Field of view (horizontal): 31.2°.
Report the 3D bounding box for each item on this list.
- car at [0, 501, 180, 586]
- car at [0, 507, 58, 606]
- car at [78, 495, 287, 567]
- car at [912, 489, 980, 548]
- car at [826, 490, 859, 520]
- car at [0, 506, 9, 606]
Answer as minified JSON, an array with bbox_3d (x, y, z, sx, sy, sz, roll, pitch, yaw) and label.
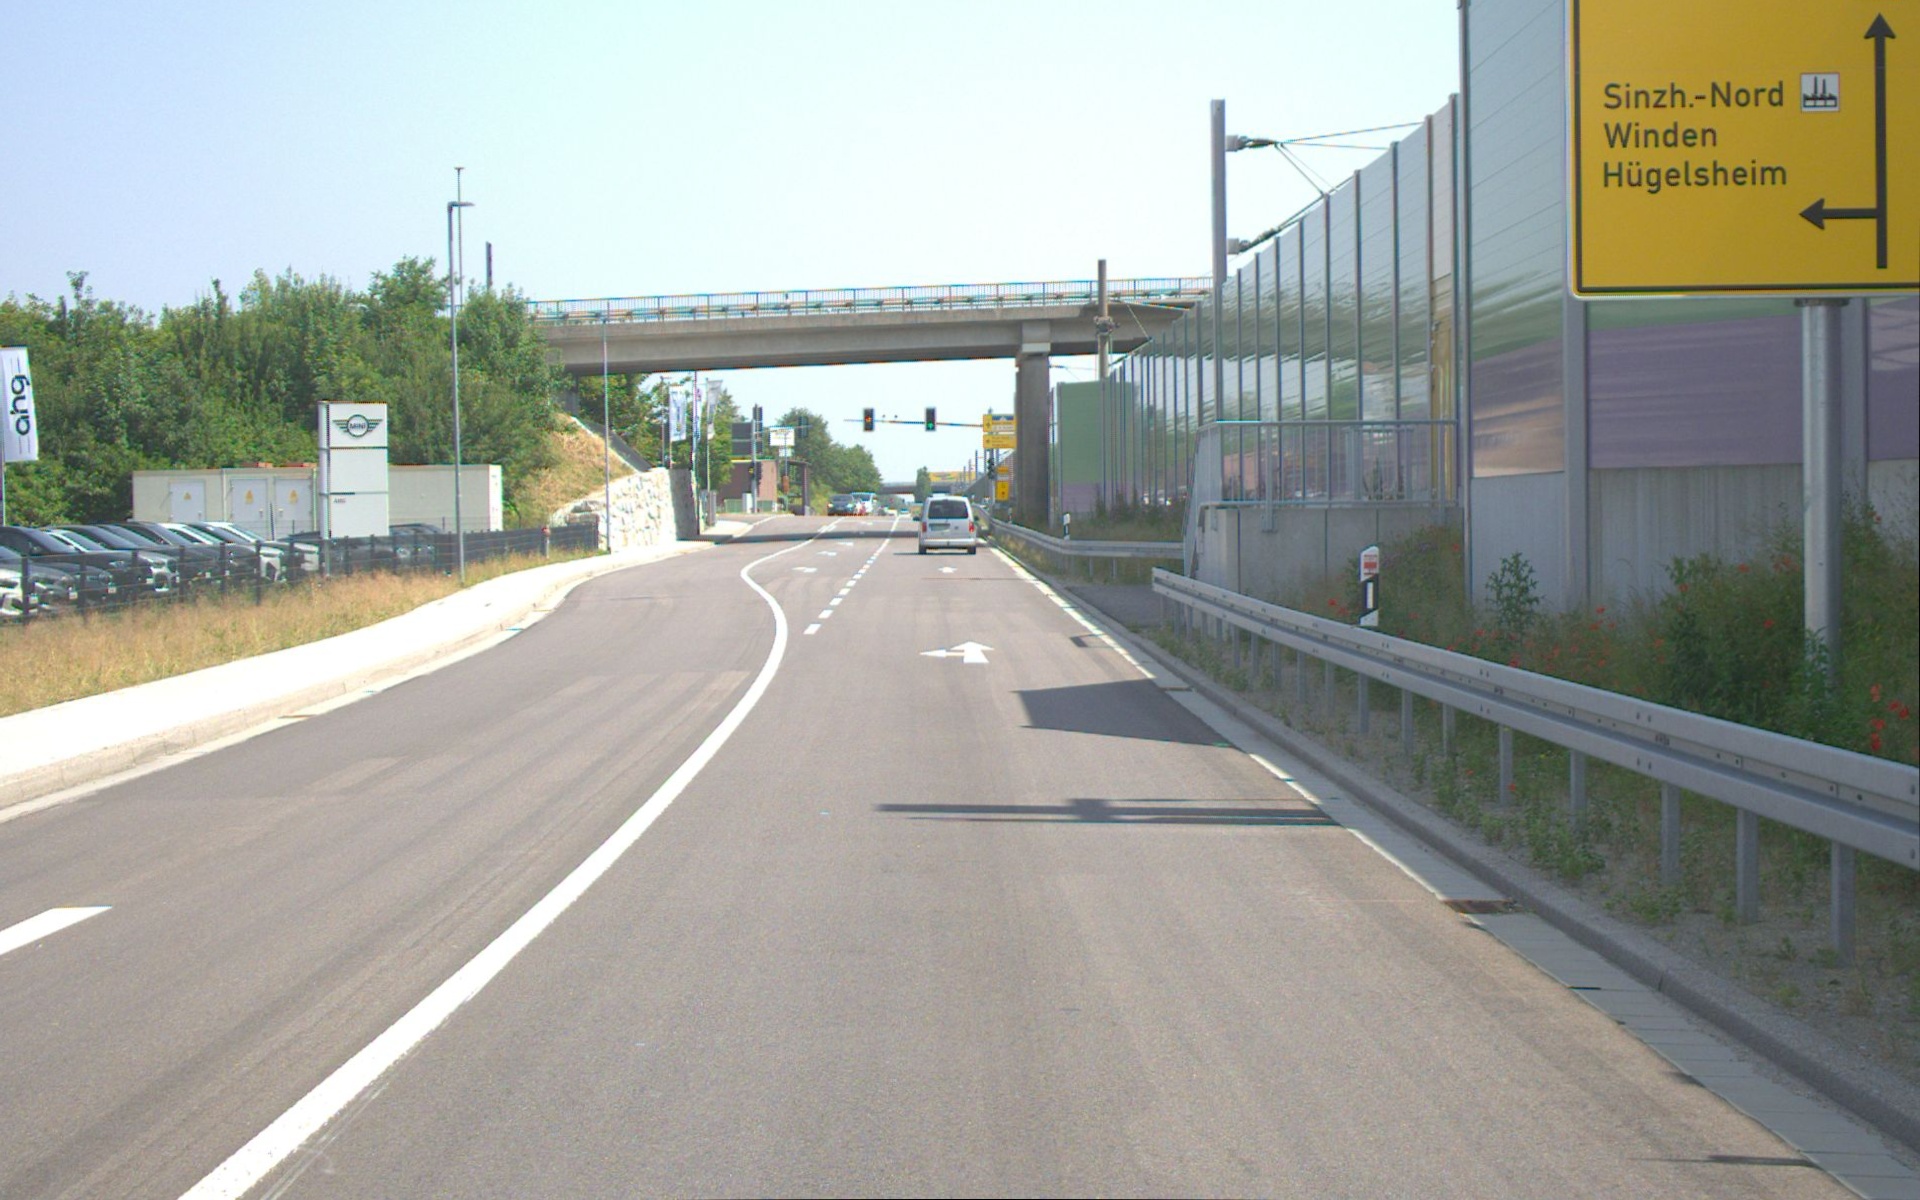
[{"bbox_3d":[-16.669,-1.033,63.271,4.164,1.461,1.815,-1,2,0],"label":"car"},{"bbox_3d":[-16.869,-0.671,55.380,4.164,1.539,1.815,-1,2,0],"label":"car"},{"bbox_3d":[-17.175,-1.530,76.089,4.164,1.461,1.815,-1,2,0],"label":"car"},{"bbox_3d":[-0.403,-2.536,106.519,1.993,1.751,4.000,-1,2,1],"label":"car"},{"bbox_3d":[-7.653,-6.180,224.066,1.993,1.919,4.000,-1,2,-1],"label":"car"},{"bbox_3d":[-16.930,-0.606,52.686,4.164,1.539,1.815,-1,2,0],"label":"car"}]
